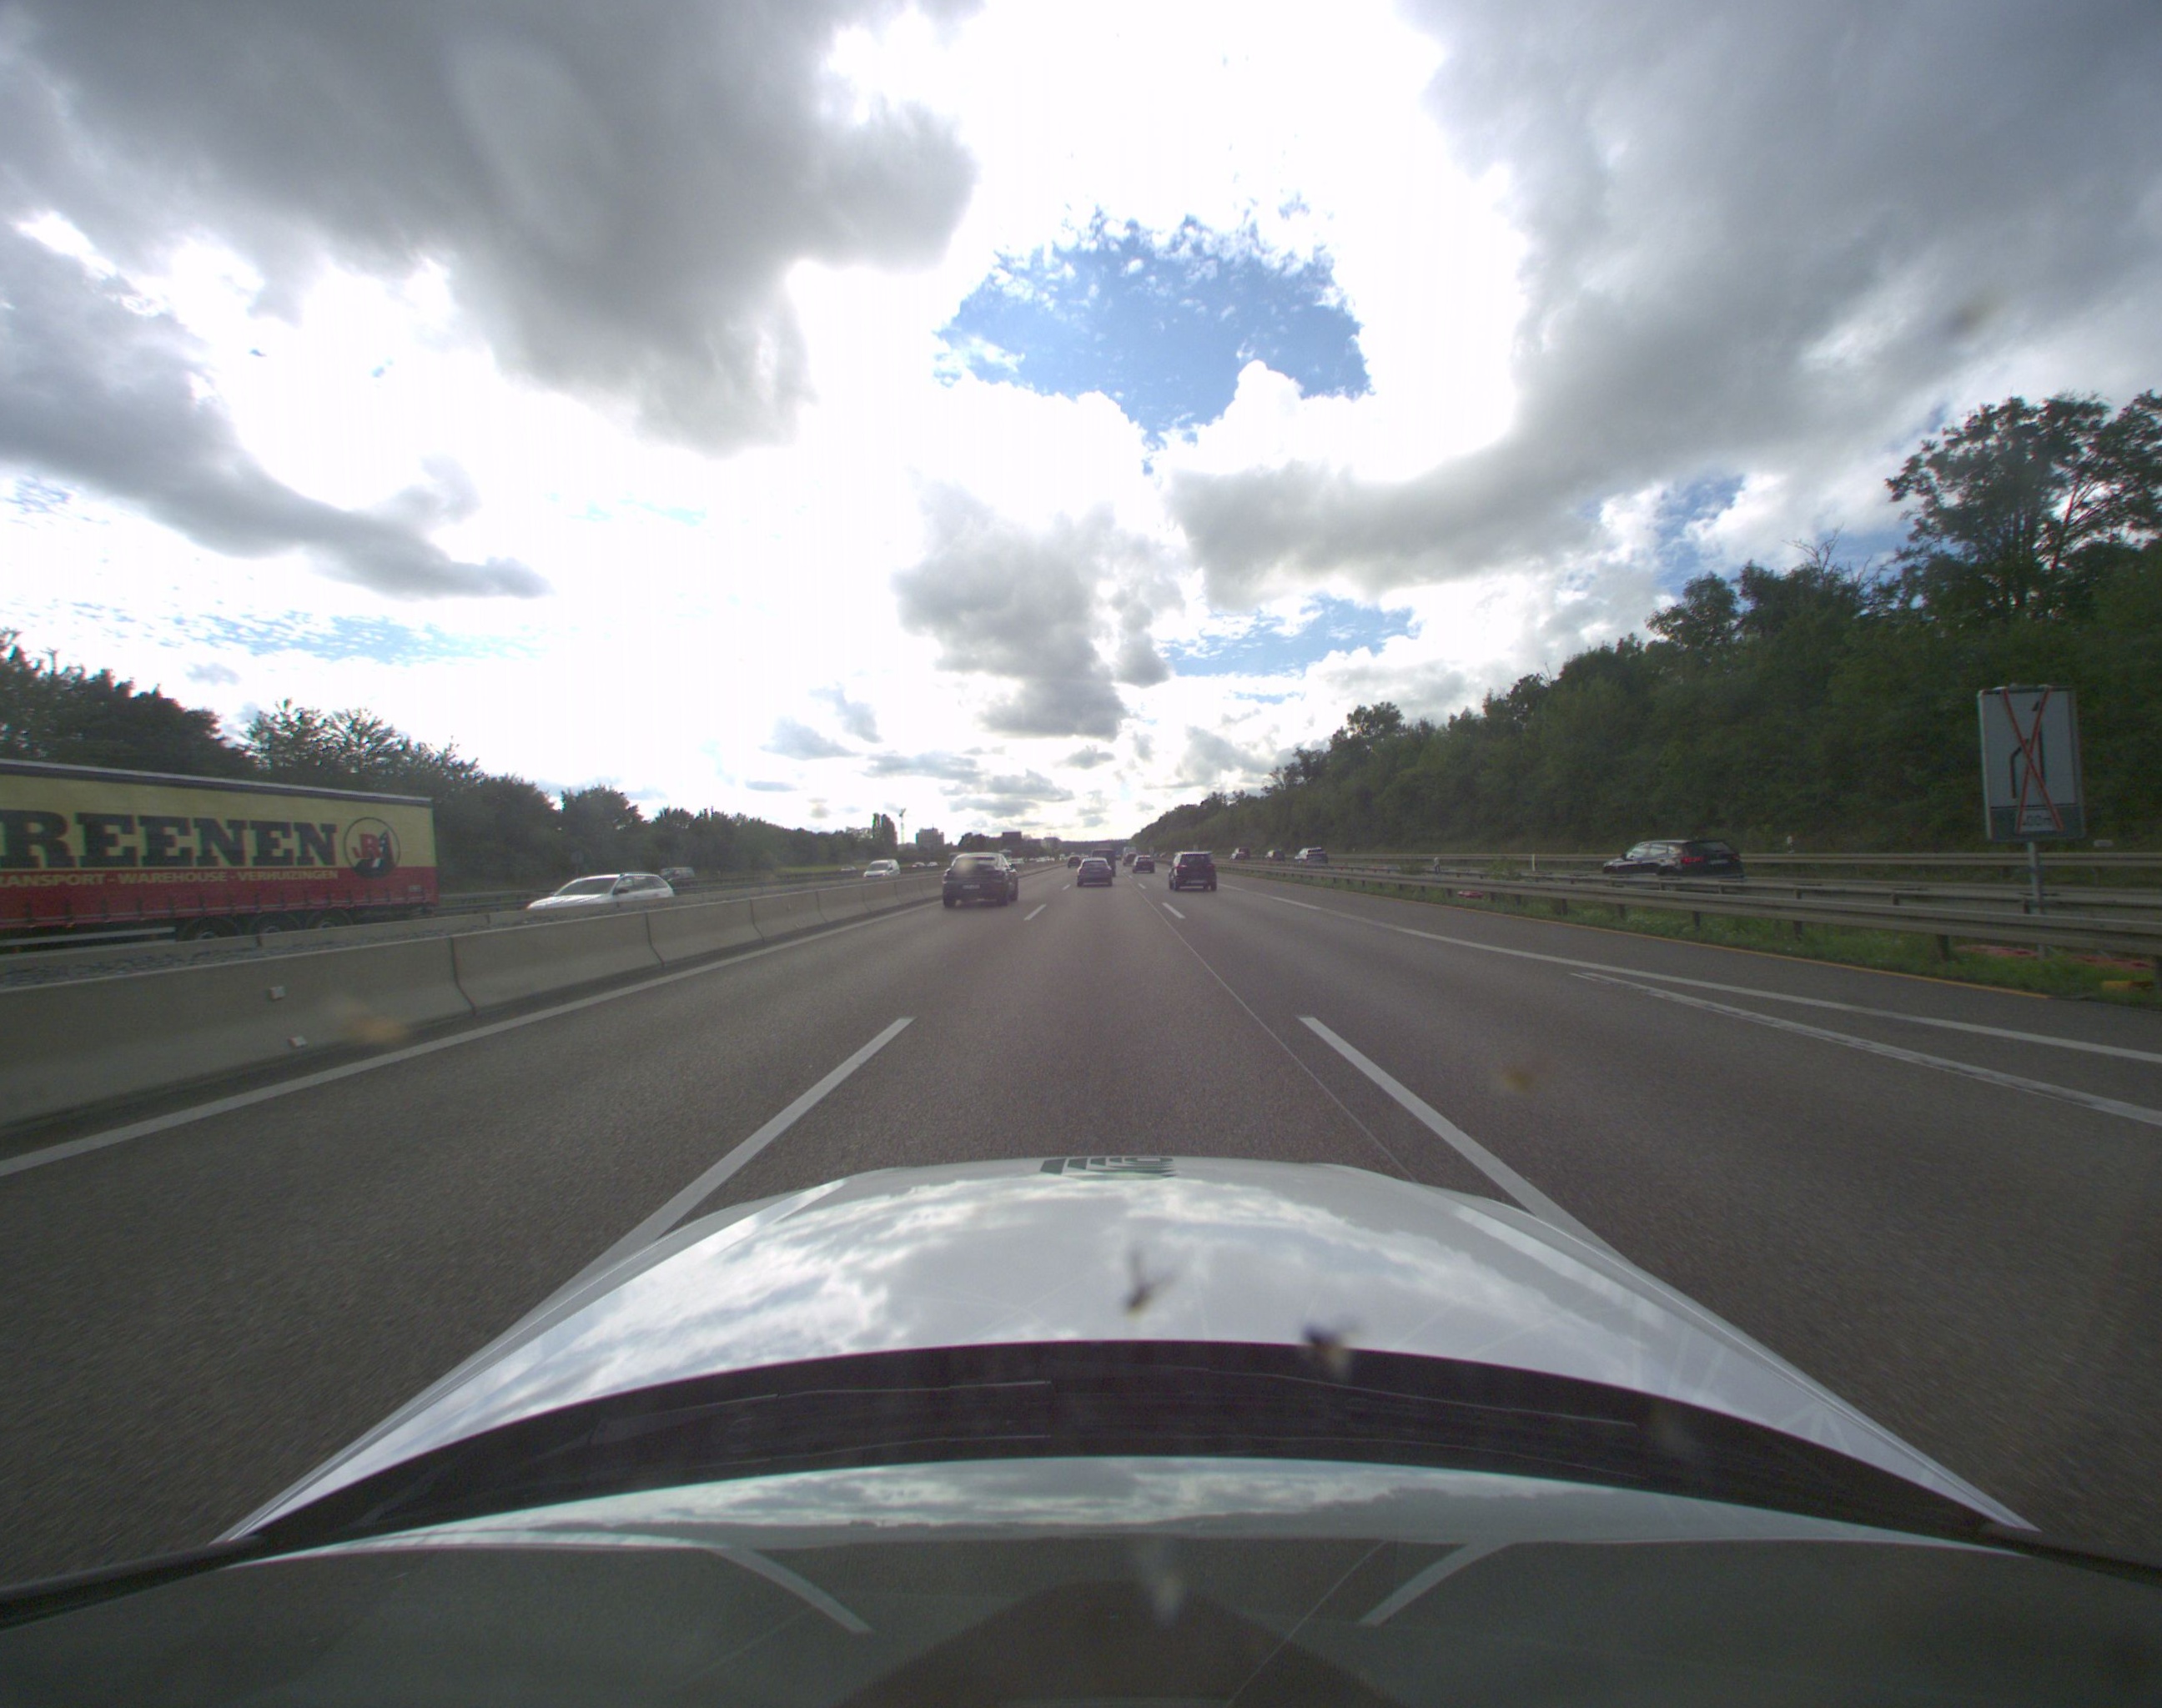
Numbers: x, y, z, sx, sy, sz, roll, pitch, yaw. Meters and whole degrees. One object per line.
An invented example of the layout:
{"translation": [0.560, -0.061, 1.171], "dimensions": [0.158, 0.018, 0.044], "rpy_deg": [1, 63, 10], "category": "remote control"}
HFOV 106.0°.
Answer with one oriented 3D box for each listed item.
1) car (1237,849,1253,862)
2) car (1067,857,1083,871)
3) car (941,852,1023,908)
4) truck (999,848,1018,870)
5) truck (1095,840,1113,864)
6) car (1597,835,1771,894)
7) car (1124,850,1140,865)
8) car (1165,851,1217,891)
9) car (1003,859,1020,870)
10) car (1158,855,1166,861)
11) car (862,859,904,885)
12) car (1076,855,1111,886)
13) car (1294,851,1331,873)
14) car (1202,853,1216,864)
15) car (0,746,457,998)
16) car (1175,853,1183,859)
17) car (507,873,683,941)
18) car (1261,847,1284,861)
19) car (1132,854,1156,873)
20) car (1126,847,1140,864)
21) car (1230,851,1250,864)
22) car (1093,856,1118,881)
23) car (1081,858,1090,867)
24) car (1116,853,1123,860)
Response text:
{"translation": [24.356, 0.228, 120.992], "dimensions": [1.590, 1.804, 3.824], "rpy_deg": [-1, 0, 0], "category": "car"}
{"translation": [-0.759, 1.319, 105.363], "dimensions": [1.866, 1.698, 4.073], "rpy_deg": [-1, 0, 1], "category": "car"}
{"translation": [-3.153, 0.768, 27.100], "dimensions": [1.905, 1.636, 5.502], "rpy_deg": [-1, 0, 1], "category": "car"}
{"translation": [-14.856, 1.052, 167.438], "dimensions": [3.036, 4.289, 8.590], "rpy_deg": [-2, 0, 1], "category": "truck"}
{"translation": [4.253, -0.375, 151.813], "dimensions": [3.251, 4.375, 11.029], "rpy_deg": [-1, 0, 2], "category": "truck"}
{"translation": [17.682, 0.274, 24.201], "dimensions": [1.836, 1.484, 4.527], "rpy_deg": [-3, 0, 2], "category": "car"}
{"translation": [7.000, 0.482, 111.863], "dimensions": [1.906, 1.919, 4.031], "rpy_deg": [-1, 0, 1], "category": "car"}
{"translation": [4.685, 0.691, 35.130], "dimensions": [1.691, 1.564, 4.114], "rpy_deg": [-1, 0, 1], "category": "car"}
{"translation": [-9.502, 1.433, 111.825], "dimensions": [1.750, 1.402, 4.076], "rpy_deg": [-2, 0, 2], "category": "car"}
{"translation": [23.011, 1.165, 231.383], "dimensions": [1.722, 1.533, 4.453], "rpy_deg": [-2, 0, 1], "category": "car"}
{"translation": [-14.523, 1.297, 59.899], "dimensions": [1.727, 1.794, 5.125], "rpy_deg": [-2, 0, 1], "category": "car"}
{"translation": [0.662, 0.806, 41.915], "dimensions": [1.714, 1.479, 4.392], "rpy_deg": [-1, 0, 1], "category": "car"}
{"translation": [19.150, 0.602, 67.591], "dimensions": [1.840, 1.650, 4.307], "rpy_deg": [-3, 0, 2], "category": "car"}
{"translation": [20.839, 0.670, 132.505], "dimensions": [1.746, 1.695, 4.191], "rpy_deg": [-1, 0, 1], "category": "car"}
{"translation": [-19.957, 0.355, 16.781], "dimensions": [2.895, 4.325, 14.149], "rpy_deg": [-2, 0, 1], "category": "car"}
{"translation": [27.338, 0.532, 227.795], "dimensions": [1.746, 1.517, 4.190], "rpy_deg": [-1, 0, 1], "category": "car"}
{"translation": [-12.276, 1.268, 20.985], "dimensions": [1.660, 1.401, 4.535], "rpy_deg": [-2, 0, 2], "category": "car"}
{"translation": [23.127, 0.031, 98.480], "dimensions": [1.723, 1.546, 4.305], "rpy_deg": [-3, 0, 0], "category": "car"}
{"translation": [5.324, 0.786, 69.245], "dimensions": [1.825, 1.521, 4.226], "rpy_deg": [-1, 0, 1], "category": "car"}
{"translation": [7.533, 0.179, 118.695], "dimensions": [1.866, 2.357, 4.283], "rpy_deg": [-1, 0, 1], "category": "car"}
{"translation": [19.870, 0.391, 101.970], "dimensions": [1.590, 1.546, 4.189], "rpy_deg": [-1, 0, 0], "category": "car"}
{"translation": [1.770, 1.045, 59.732], "dimensions": [1.714, 1.724, 4.392], "rpy_deg": [-1, 0, 1], "category": "car"}
{"translation": [0.818, 1.575, 150.043], "dimensions": [1.691, 1.611, 4.114], "rpy_deg": [-1, 0, 1], "category": "car"}
{"translation": [10.113, 0.708, 213.813], "dimensions": [1.746, 1.695, 4.191], "rpy_deg": [-1, 0, 1], "category": "car"}
